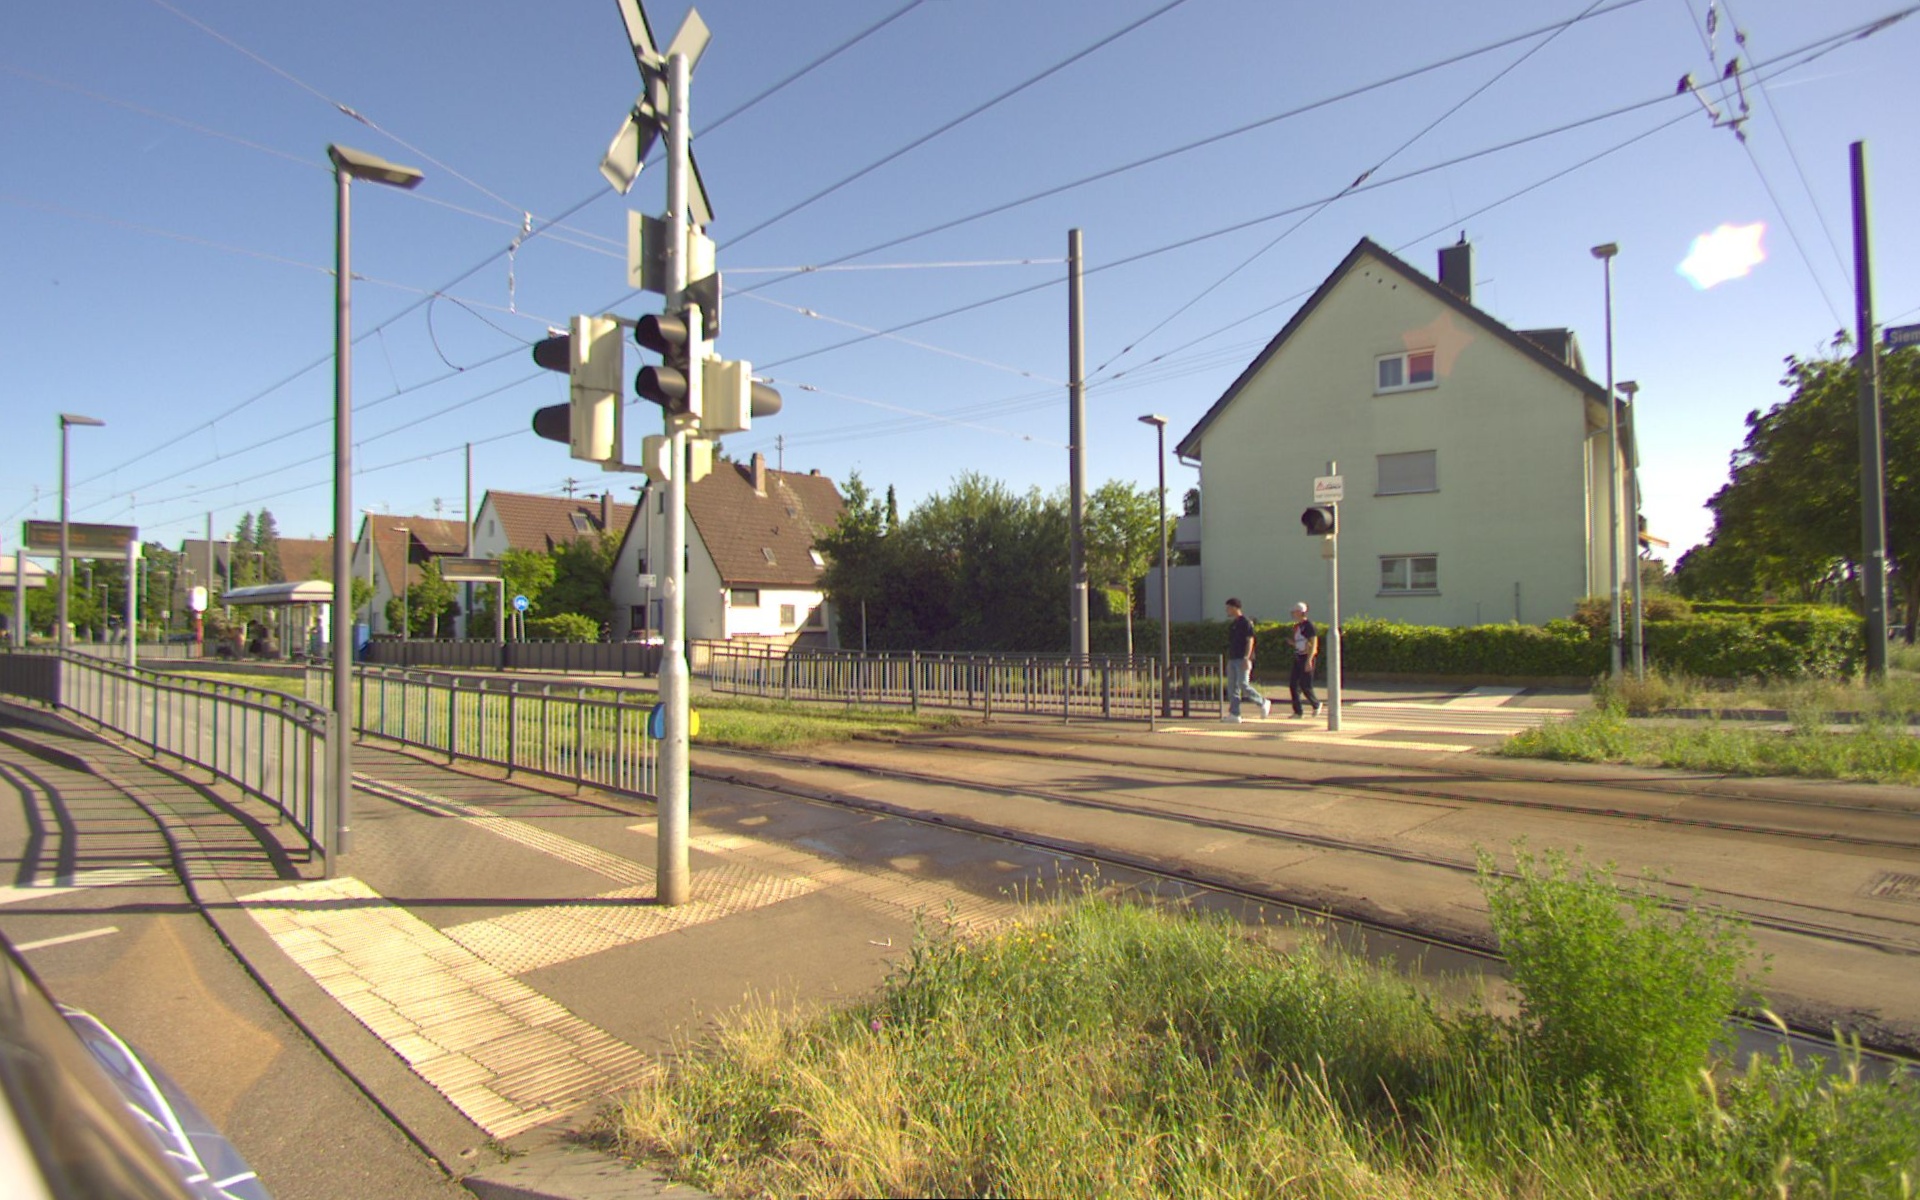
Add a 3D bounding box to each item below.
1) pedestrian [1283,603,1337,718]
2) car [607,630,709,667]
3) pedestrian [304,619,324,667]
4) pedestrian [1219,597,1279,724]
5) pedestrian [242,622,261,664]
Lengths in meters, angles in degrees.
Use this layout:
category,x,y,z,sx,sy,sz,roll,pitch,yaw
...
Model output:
category,x,y,z,sx,sy,sz,roll,pitch,yaw
pedestrian,5.308,0.888,15.395,0.721,1.673,0.792,0,1,16
car,-13.409,2.146,45.101,1.997,1.547,3.940,-2,-2,37
pedestrian,-24.067,1.593,37.716,0.612,1.766,0.443,0,-2,-30
pedestrian,4.198,0.854,14.710,0.818,1.784,0.686,0,1,16
pedestrian,-29.615,1.794,42.306,0.543,1.766,0.528,-2,-3,40
